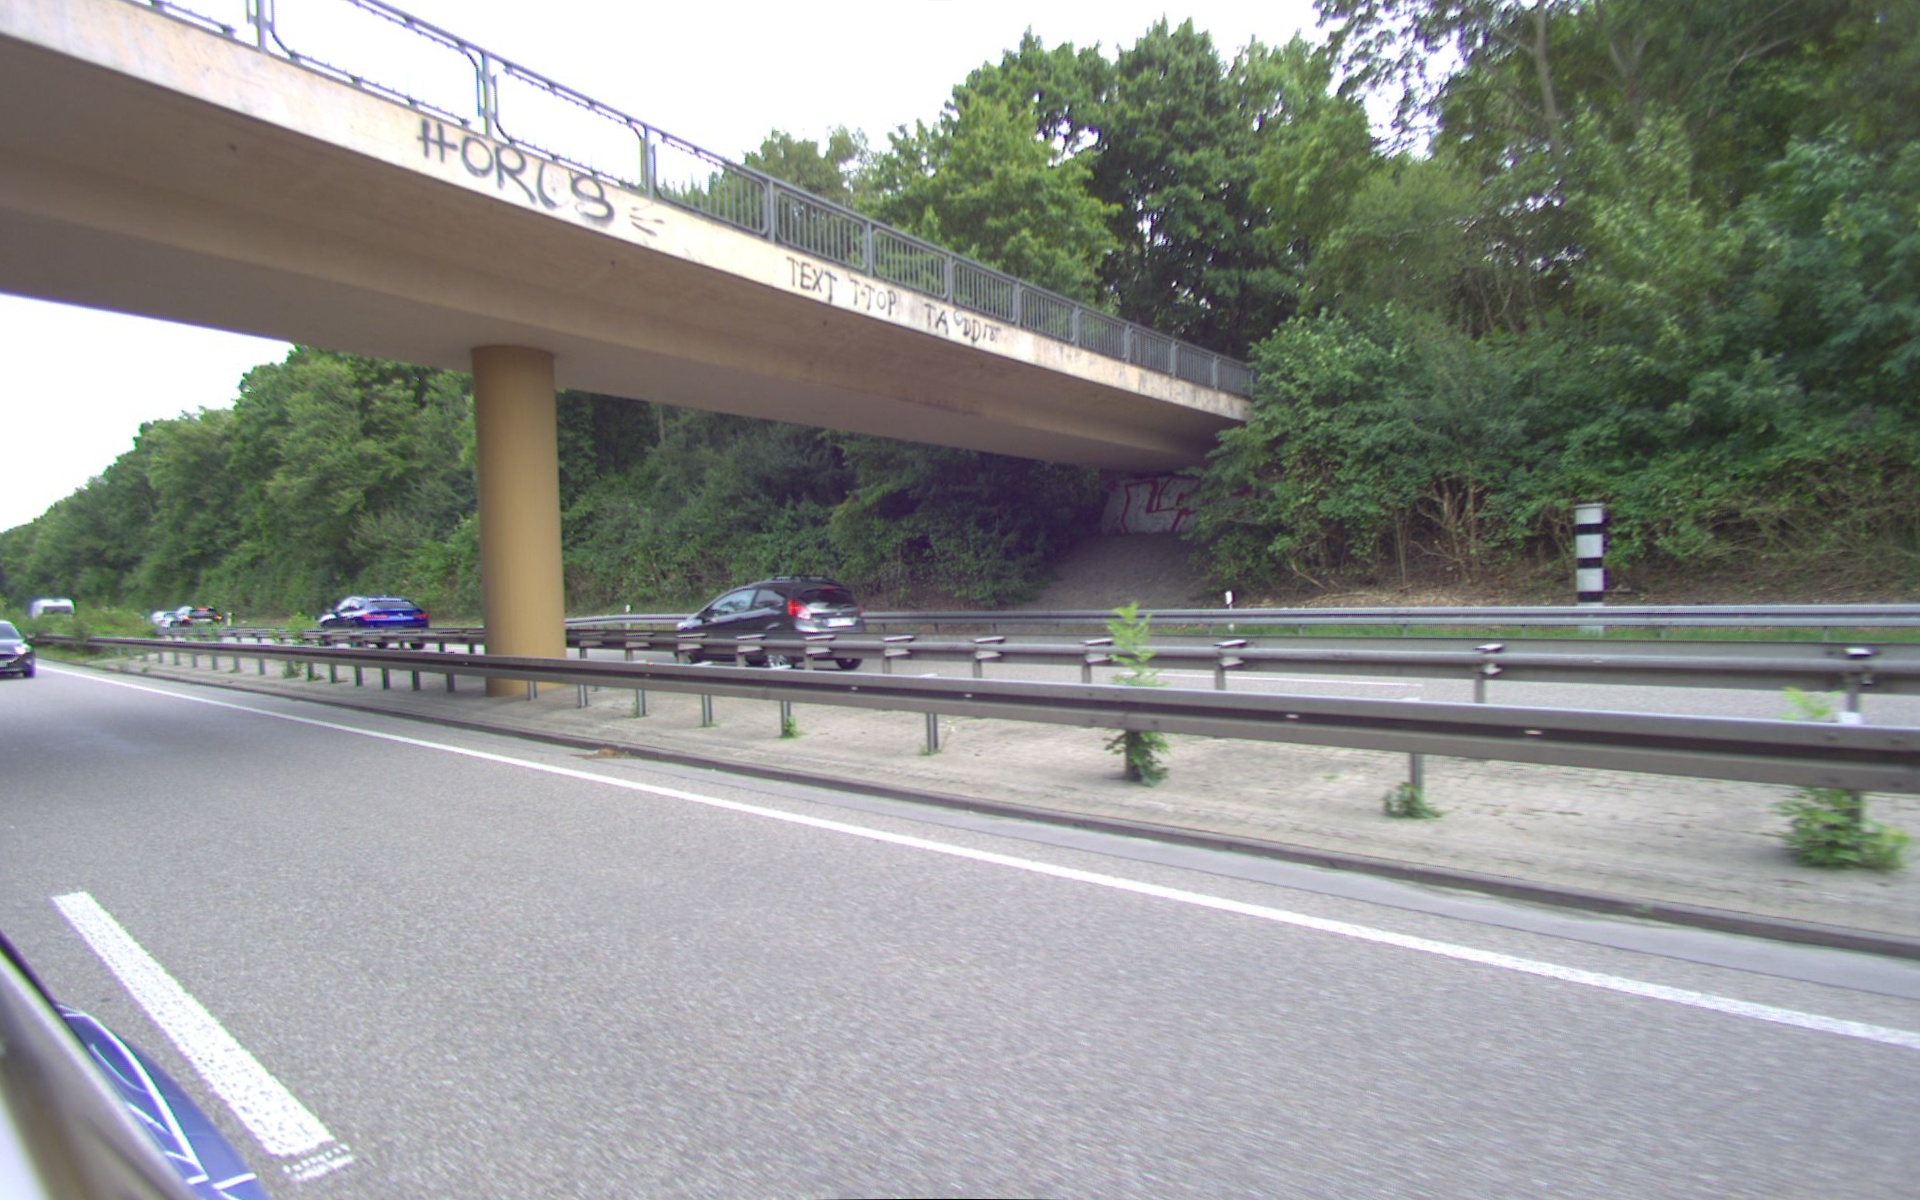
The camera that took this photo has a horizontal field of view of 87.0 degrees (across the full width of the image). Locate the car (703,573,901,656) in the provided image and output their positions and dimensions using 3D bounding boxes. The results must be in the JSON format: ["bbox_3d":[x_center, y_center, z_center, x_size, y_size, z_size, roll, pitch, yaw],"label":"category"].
[{"bbox_3d":[-3.648,0.307,22.812,4.637,1.699,1.874,-1,0,41],"label":"car"}]

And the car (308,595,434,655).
[{"bbox_3d":[-17.658,0.712,30.242,4.637,1.664,1.874,-1,0,41],"label":"car"}]

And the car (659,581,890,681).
[{"bbox_3d":[-3.170,0.466,16.848,3.988,1.474,1.671,-1,0,41],"label":"car"}]

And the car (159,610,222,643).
[{"bbox_3d":[-41.946,1.408,55.131,4.637,1.664,1.874,-1,0,41],"label":"car"}]

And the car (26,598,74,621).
[{"bbox_3d":[-68.868,0.734,76.550,4.637,1.664,2.165,-1,0,41],"label":"car"}]

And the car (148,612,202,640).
[{"bbox_3d":[-49.980,1.638,64.437,4.637,1.664,1.874,-1,0,41],"label":"car"}]

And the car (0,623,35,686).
[{"bbox_3d":[-24.844,1.351,25.471,4.637,1.469,1.807,-1,0,41],"label":"car"}]
